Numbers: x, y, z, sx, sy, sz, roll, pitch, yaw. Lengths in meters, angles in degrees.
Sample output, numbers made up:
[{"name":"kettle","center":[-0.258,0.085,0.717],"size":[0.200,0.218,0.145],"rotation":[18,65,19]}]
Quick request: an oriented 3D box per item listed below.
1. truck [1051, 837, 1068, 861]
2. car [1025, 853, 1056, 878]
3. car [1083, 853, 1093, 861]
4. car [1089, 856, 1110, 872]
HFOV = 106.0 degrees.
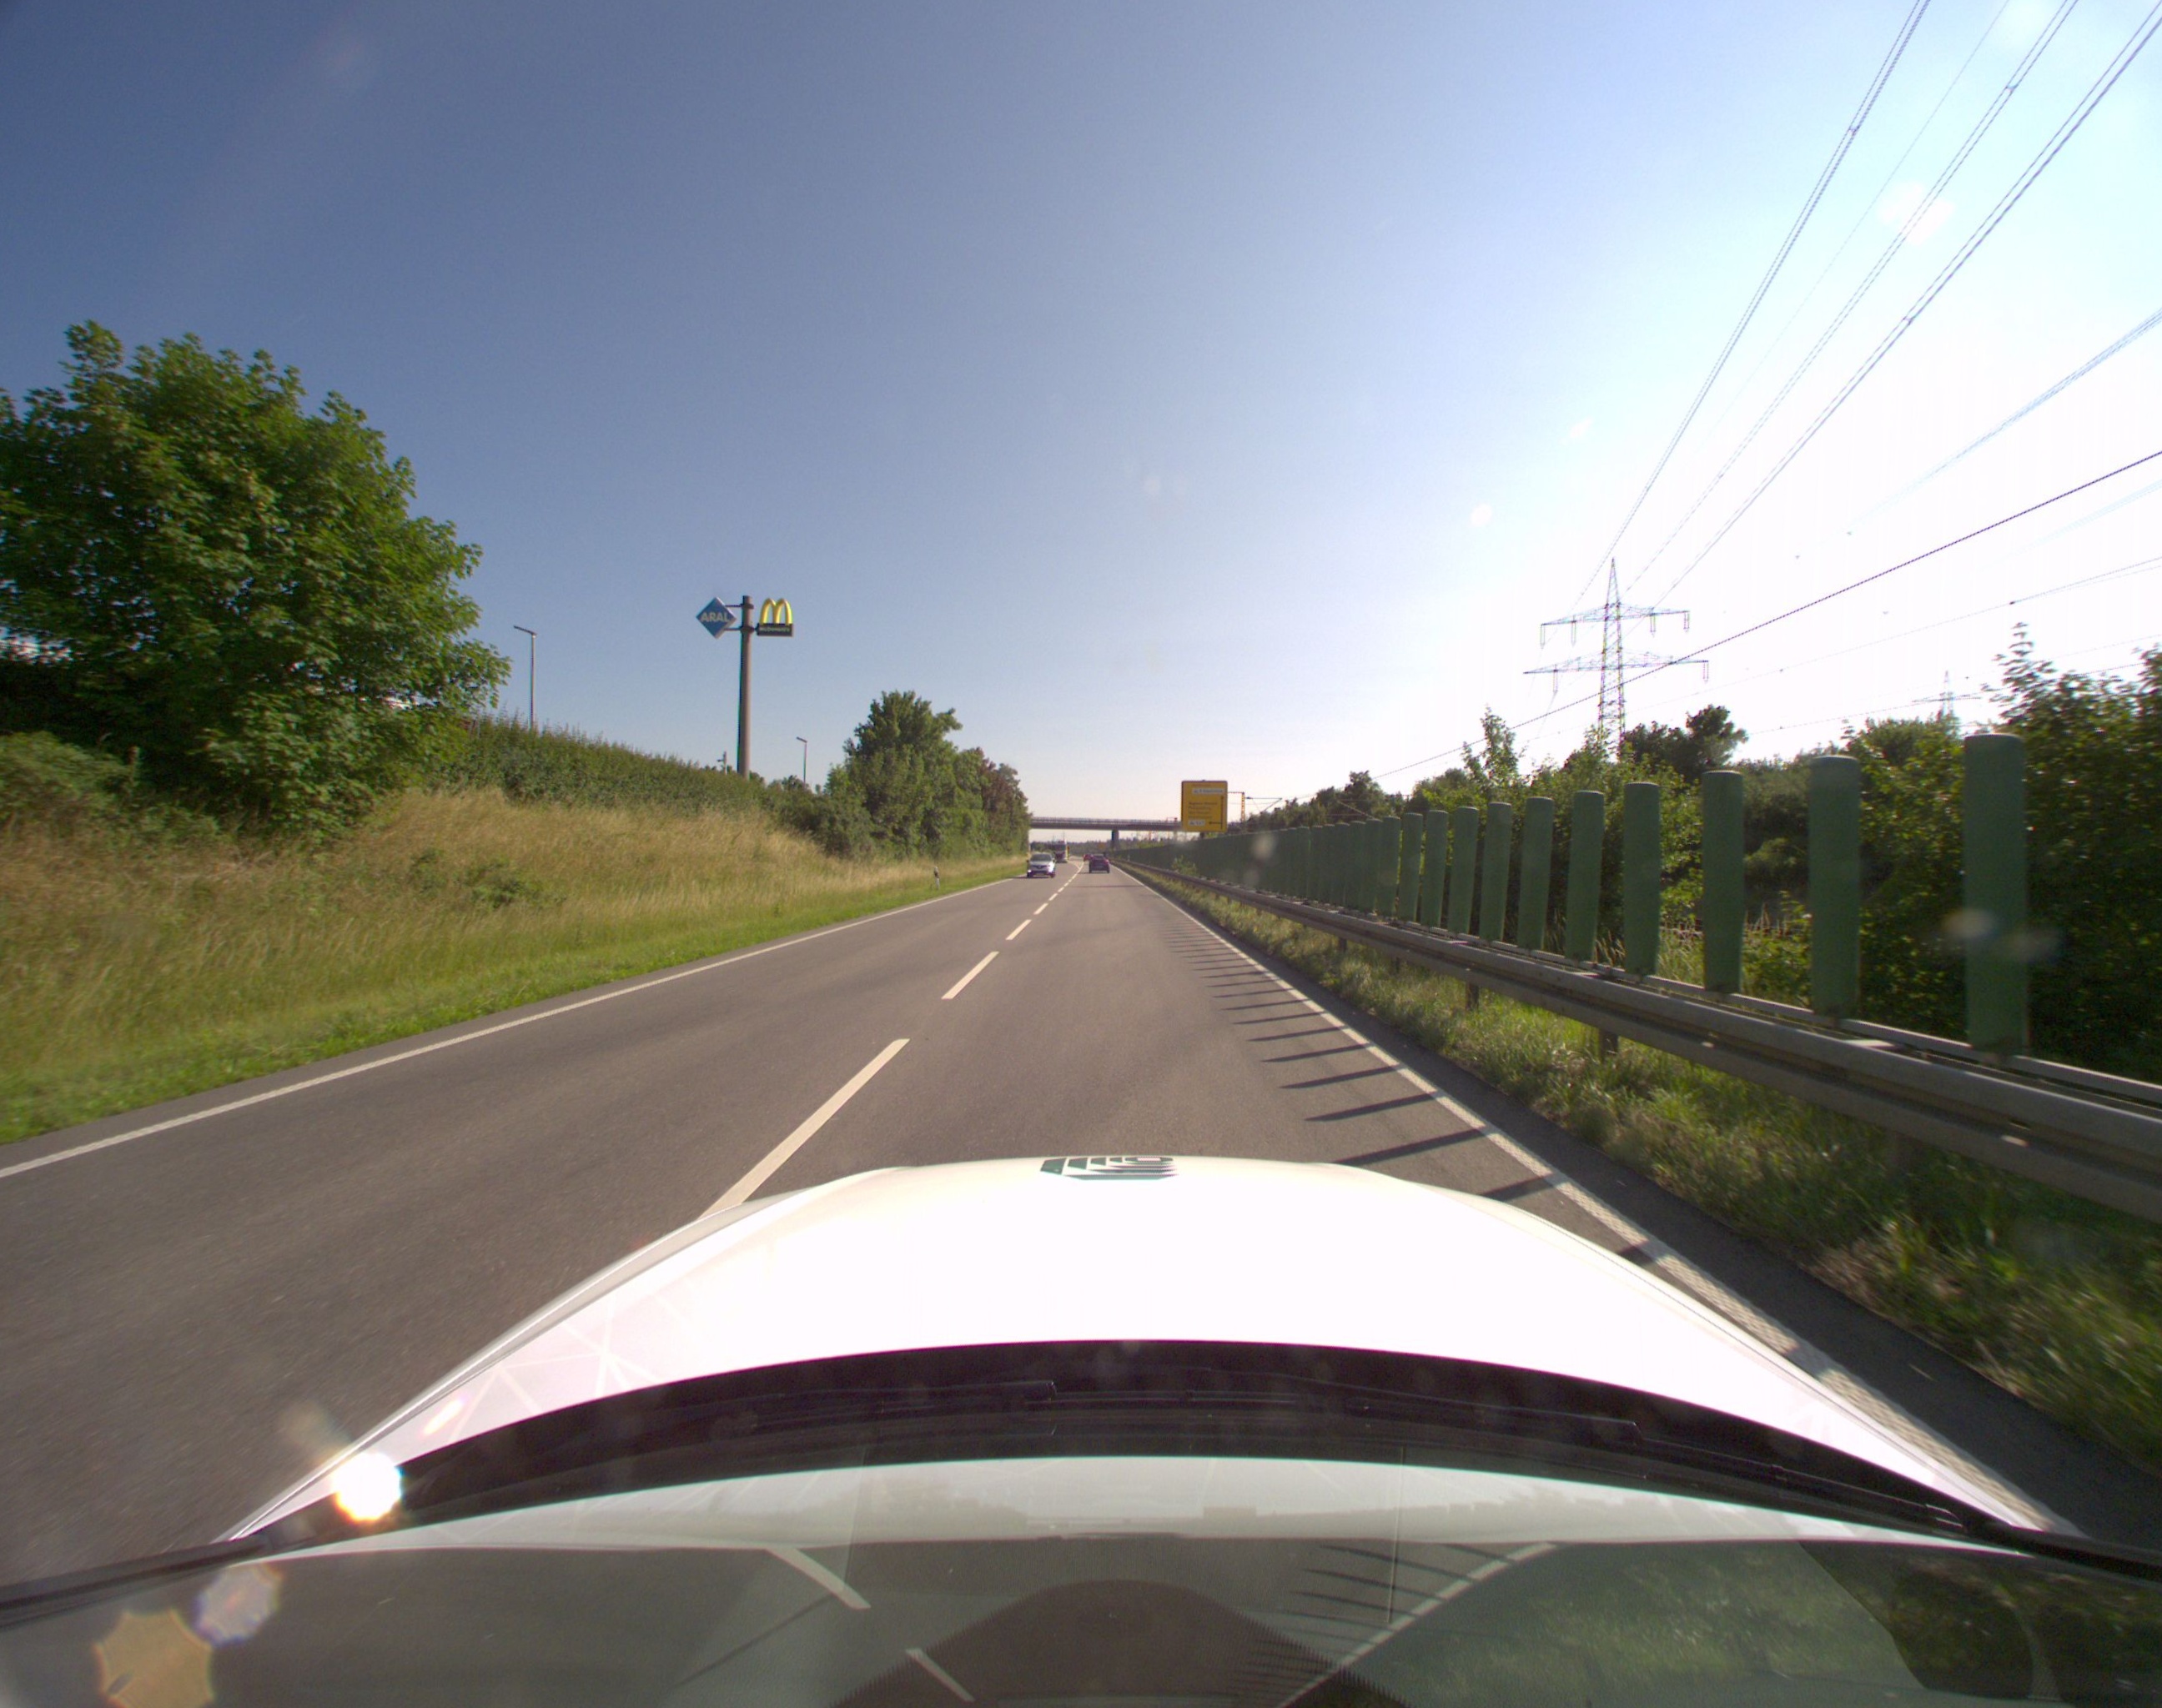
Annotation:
[{"name":"truck","center":[-3.394,-0.828,131.210],"size":[2.551,3.688,10.486],"rotation":[0,0,0]},{"name":"car","center":[-2.623,0.721,53.474],"size":[1.790,1.593,4.000],"rotation":[0,0,0]},{"name":"car","center":[1.280,0.629,152.192],"size":[1.889,1.418,3.999],"rotation":[0,0,0]},{"name":"car","center":[1.456,0.796,65.056],"size":[1.658,1.261,3.999],"rotation":[0,0,0]}]
